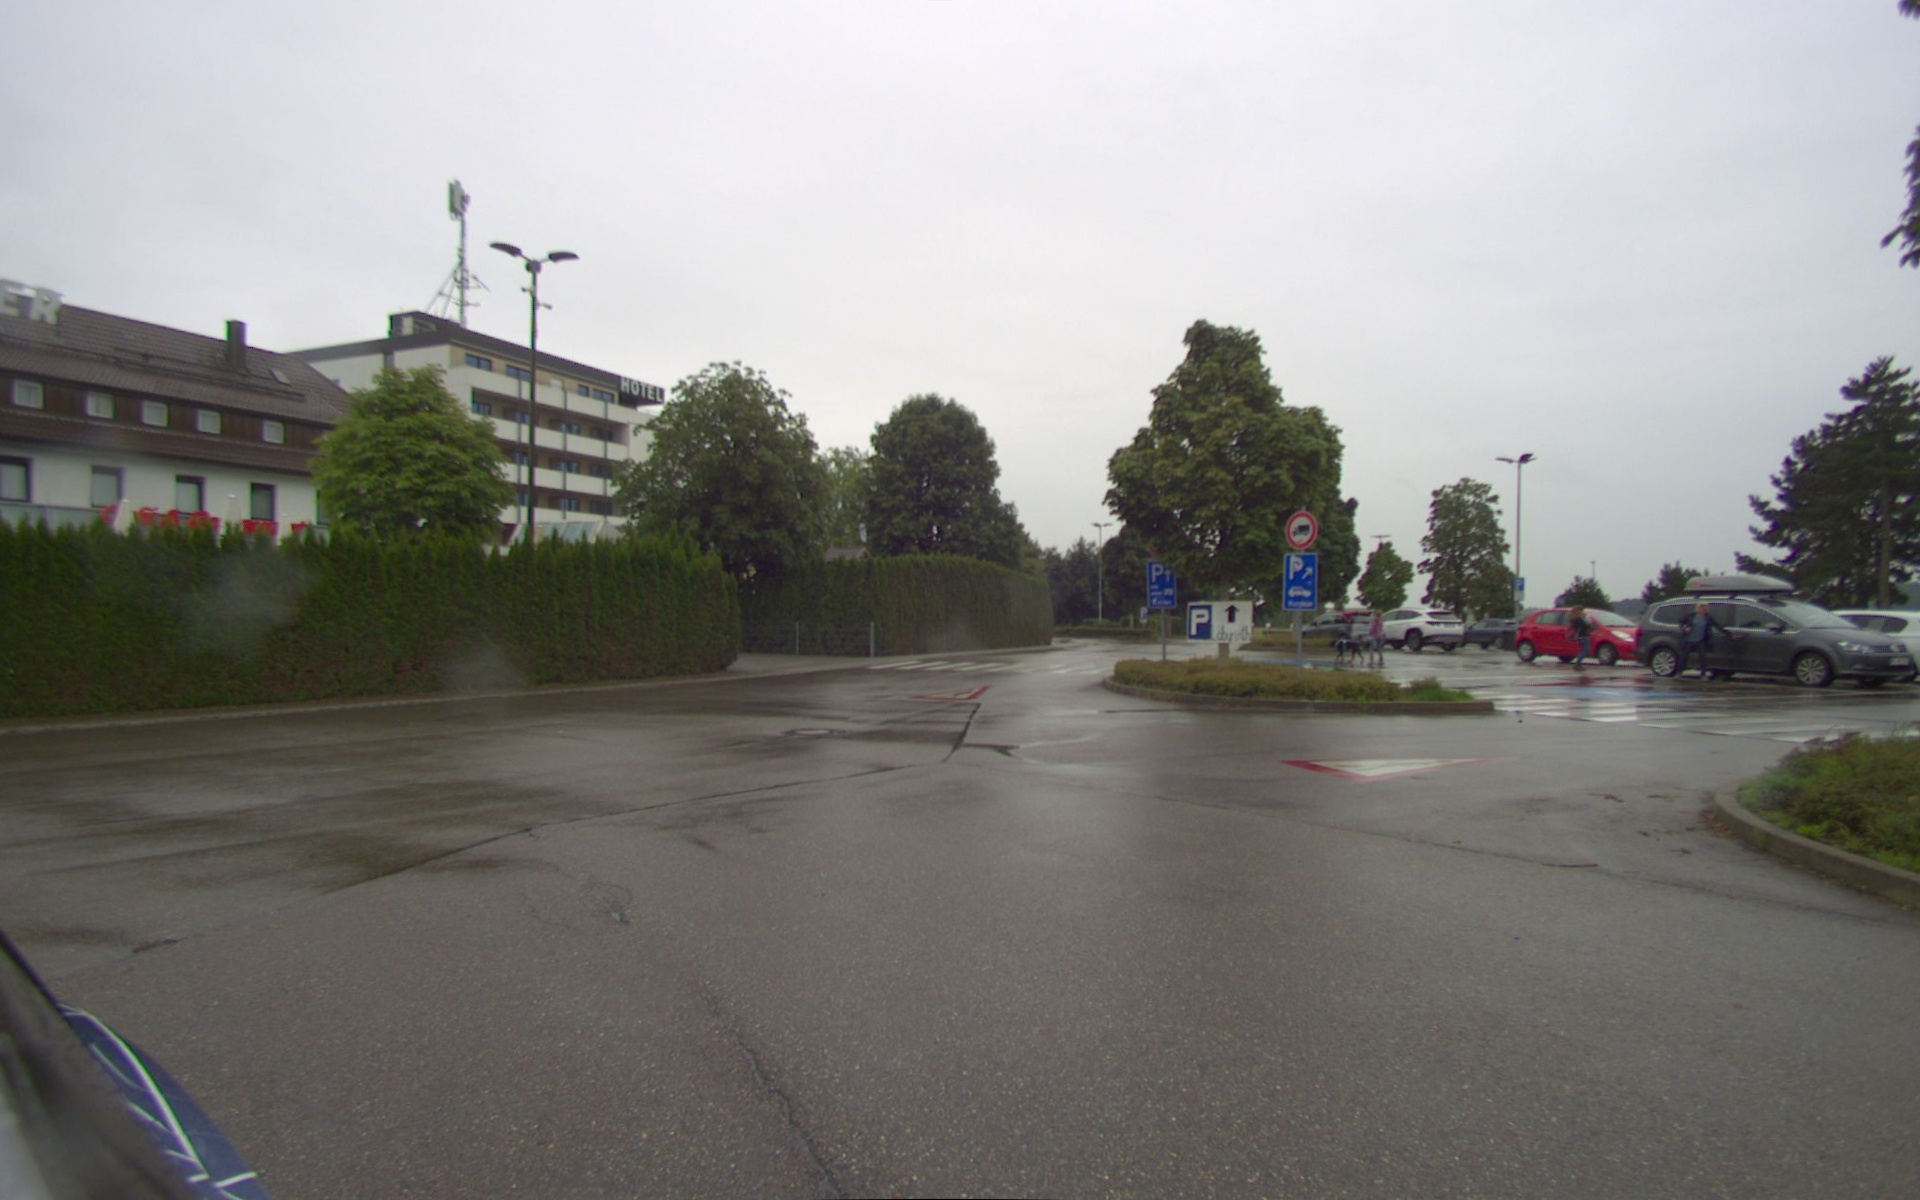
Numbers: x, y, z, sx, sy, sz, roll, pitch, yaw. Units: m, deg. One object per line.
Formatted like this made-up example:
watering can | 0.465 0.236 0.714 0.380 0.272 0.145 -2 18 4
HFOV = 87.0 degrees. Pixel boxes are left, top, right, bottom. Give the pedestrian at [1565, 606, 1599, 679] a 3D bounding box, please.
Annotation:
pedestrian | 14.297 0.974 23.269 0.644 1.651 0.709 0 -2 30

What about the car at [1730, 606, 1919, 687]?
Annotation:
car | 18.751 0.916 20.978 1.713 1.528 4.210 -1 -1 -16

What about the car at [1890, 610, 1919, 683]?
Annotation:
car | 26.021 1.189 25.037 1.819 1.876 4.036 2 -2 -18

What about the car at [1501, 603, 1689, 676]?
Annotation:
car | 17.055 1.023 27.416 1.819 1.806 4.036 0 -1 -18

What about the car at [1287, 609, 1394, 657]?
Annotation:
car | 14.704 1.271 39.344 1.691 1.728 4.039 2 -2 -18

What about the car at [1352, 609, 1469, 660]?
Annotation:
car | 17.642 1.338 39.886 1.691 1.876 4.382 2 -2 -18

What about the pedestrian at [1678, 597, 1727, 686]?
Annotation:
pedestrian | 14.861 0.816 20.259 0.602 1.737 0.684 3 -2 -43

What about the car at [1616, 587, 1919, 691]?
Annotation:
car | 16.250 0.728 20.325 1.966 1.806 4.966 0 -1 -18

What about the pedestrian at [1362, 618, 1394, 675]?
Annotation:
pedestrian | 10.269 1.131 24.860 0.642 1.372 0.447 1 -2 30
